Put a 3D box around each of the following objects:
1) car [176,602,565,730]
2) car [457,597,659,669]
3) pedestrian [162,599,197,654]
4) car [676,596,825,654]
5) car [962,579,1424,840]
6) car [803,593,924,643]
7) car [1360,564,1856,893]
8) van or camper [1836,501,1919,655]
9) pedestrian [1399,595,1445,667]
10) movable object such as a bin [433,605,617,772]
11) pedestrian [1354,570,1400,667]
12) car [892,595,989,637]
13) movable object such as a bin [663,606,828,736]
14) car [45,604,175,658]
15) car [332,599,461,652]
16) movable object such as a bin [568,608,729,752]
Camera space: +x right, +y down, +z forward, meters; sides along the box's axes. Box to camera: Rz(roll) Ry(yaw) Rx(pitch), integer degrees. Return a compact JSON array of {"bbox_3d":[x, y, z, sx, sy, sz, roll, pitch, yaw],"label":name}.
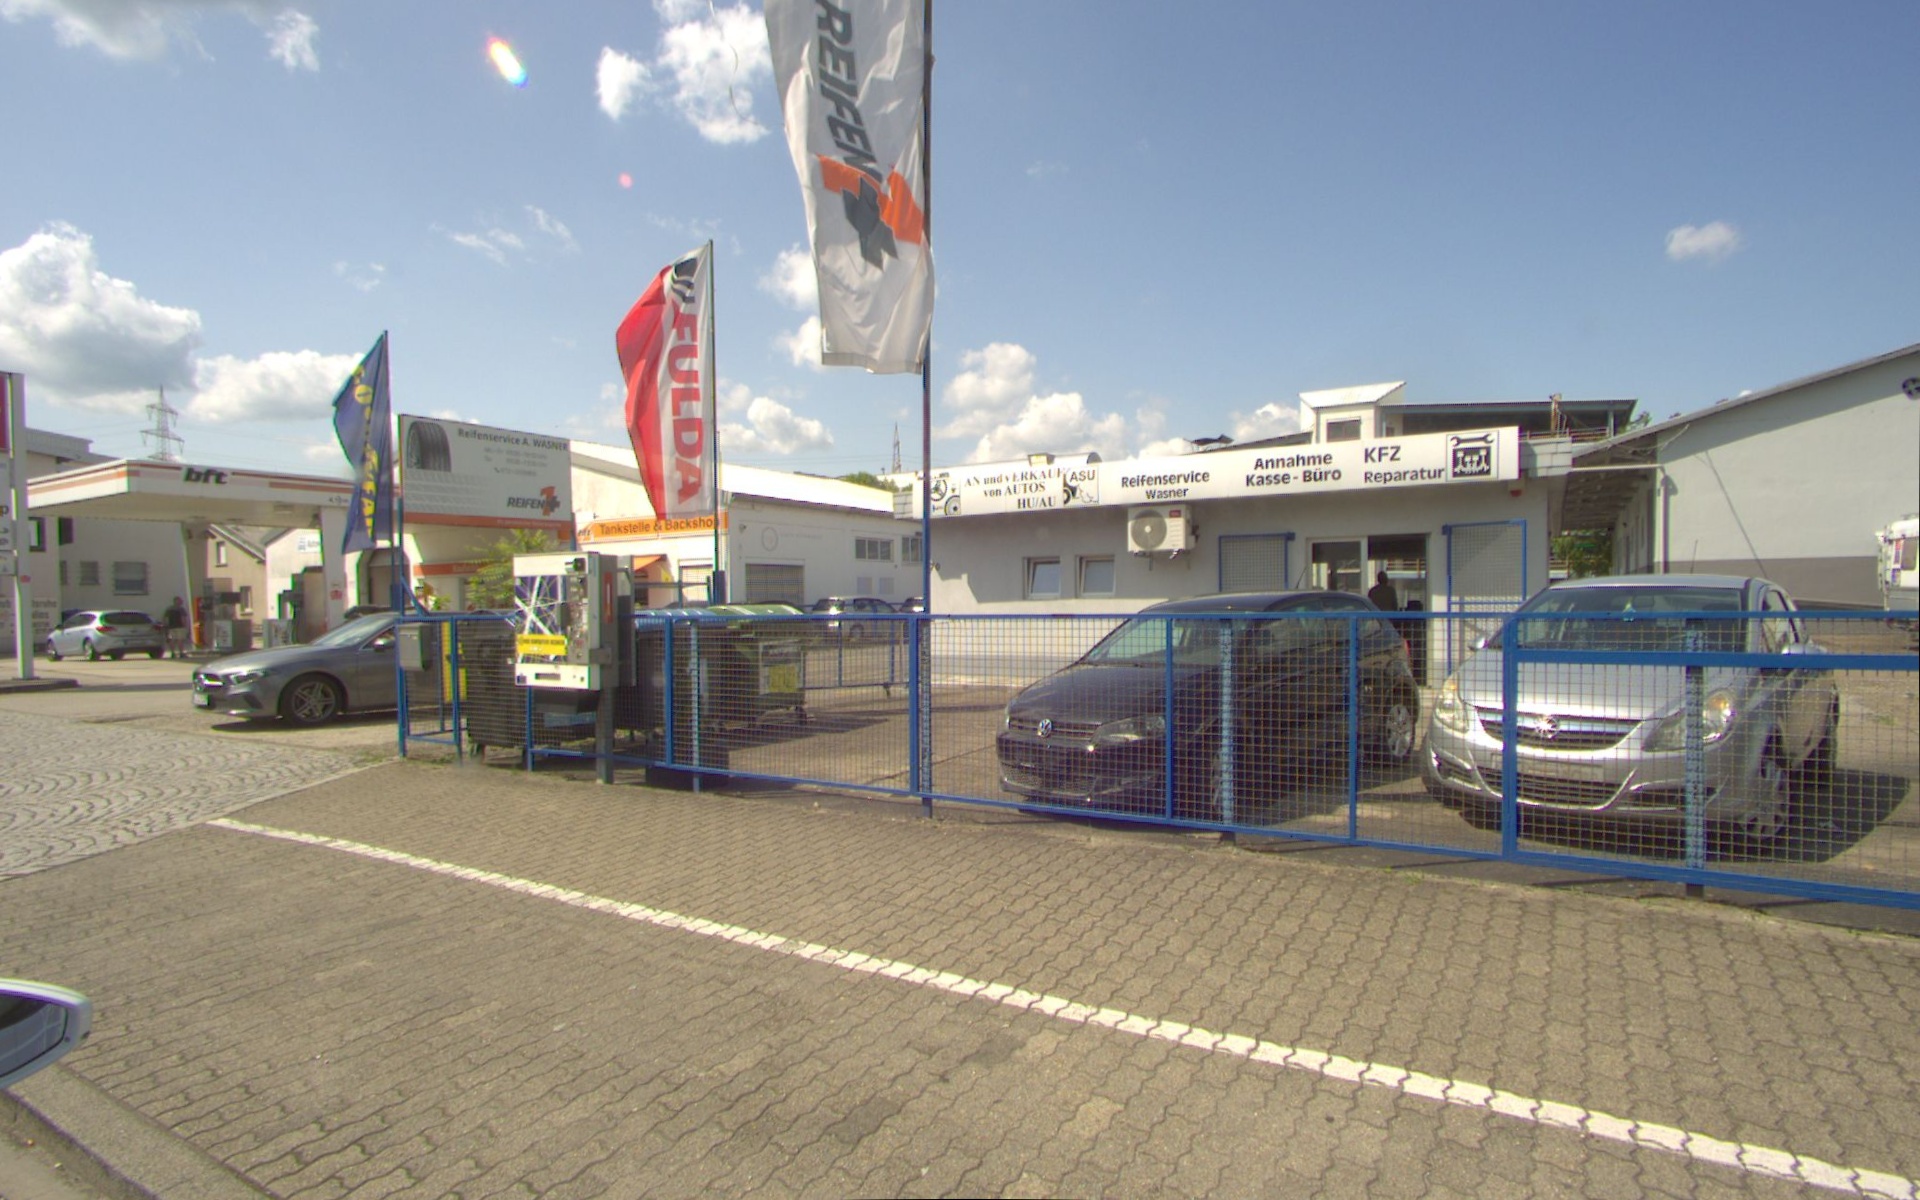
[{"bbox_3d":[-7.783,0.764,13.636,1.652,1.434,4.259,0,0,36],"label":"car"},{"bbox_3d":[-9.162,0.689,23.163,1.564,1.482,4.187,0,0,33],"label":"car"},{"bbox_3d":[-23.774,0.799,30.515,0.698,1.679,0.546,-1,1,-22],"label":"pedestrian"},{"bbox_3d":[-5.715,0.642,27.819,1.564,1.482,4.187,0,0,33],"label":"car"},{"bbox_3d":[1.894,0.606,7.492,3.655,1.472,1.625,-1,1,-43],"label":"car"},{"bbox_3d":[-3.013,0.526,32.050,1.564,1.482,4.187,0,0,33],"label":"car"},{"bbox_3d":[4.276,0.565,6.381,3.729,1.472,1.757,-1,0,-42],"label":"car"},{"bbox_3d":[21.018,-0.450,19.530,5.571,3.005,2.264,0,1,31],"label":"van or camper"},{"bbox_3d":[8.049,0.536,17.439,0.654,1.225,0.563,0,1,34],"label":"pedestrian"},{"bbox_3d":[-4.156,0.789,9.607,1.225,1.455,1.106,0,1,31],"label":"movable object such as a bin"},{"bbox_3d":[7.355,0.322,17.646,0.654,1.671,0.563,0,1,34],"label":"pedestrian"},{"bbox_3d":[-0.637,0.533,35.736,1.564,1.385,3.860,0,0,33],"label":"car"},{"bbox_3d":[-2.530,0.786,11.903,1.318,1.415,1.400,0,1,31],"label":"movable object such as a bin"},{"bbox_3d":[-25.734,0.899,30.305,3.776,1.523,1.803,0,0,30],"label":"car"},{"bbox_3d":[-17.307,0.746,30.723,3.777,1.523,1.803,0,0,31],"label":"car"},{"bbox_3d":[-3.323,0.806,10.738,1.225,1.415,1.106,0,1,31],"label":"movable object such as a bin"}]
